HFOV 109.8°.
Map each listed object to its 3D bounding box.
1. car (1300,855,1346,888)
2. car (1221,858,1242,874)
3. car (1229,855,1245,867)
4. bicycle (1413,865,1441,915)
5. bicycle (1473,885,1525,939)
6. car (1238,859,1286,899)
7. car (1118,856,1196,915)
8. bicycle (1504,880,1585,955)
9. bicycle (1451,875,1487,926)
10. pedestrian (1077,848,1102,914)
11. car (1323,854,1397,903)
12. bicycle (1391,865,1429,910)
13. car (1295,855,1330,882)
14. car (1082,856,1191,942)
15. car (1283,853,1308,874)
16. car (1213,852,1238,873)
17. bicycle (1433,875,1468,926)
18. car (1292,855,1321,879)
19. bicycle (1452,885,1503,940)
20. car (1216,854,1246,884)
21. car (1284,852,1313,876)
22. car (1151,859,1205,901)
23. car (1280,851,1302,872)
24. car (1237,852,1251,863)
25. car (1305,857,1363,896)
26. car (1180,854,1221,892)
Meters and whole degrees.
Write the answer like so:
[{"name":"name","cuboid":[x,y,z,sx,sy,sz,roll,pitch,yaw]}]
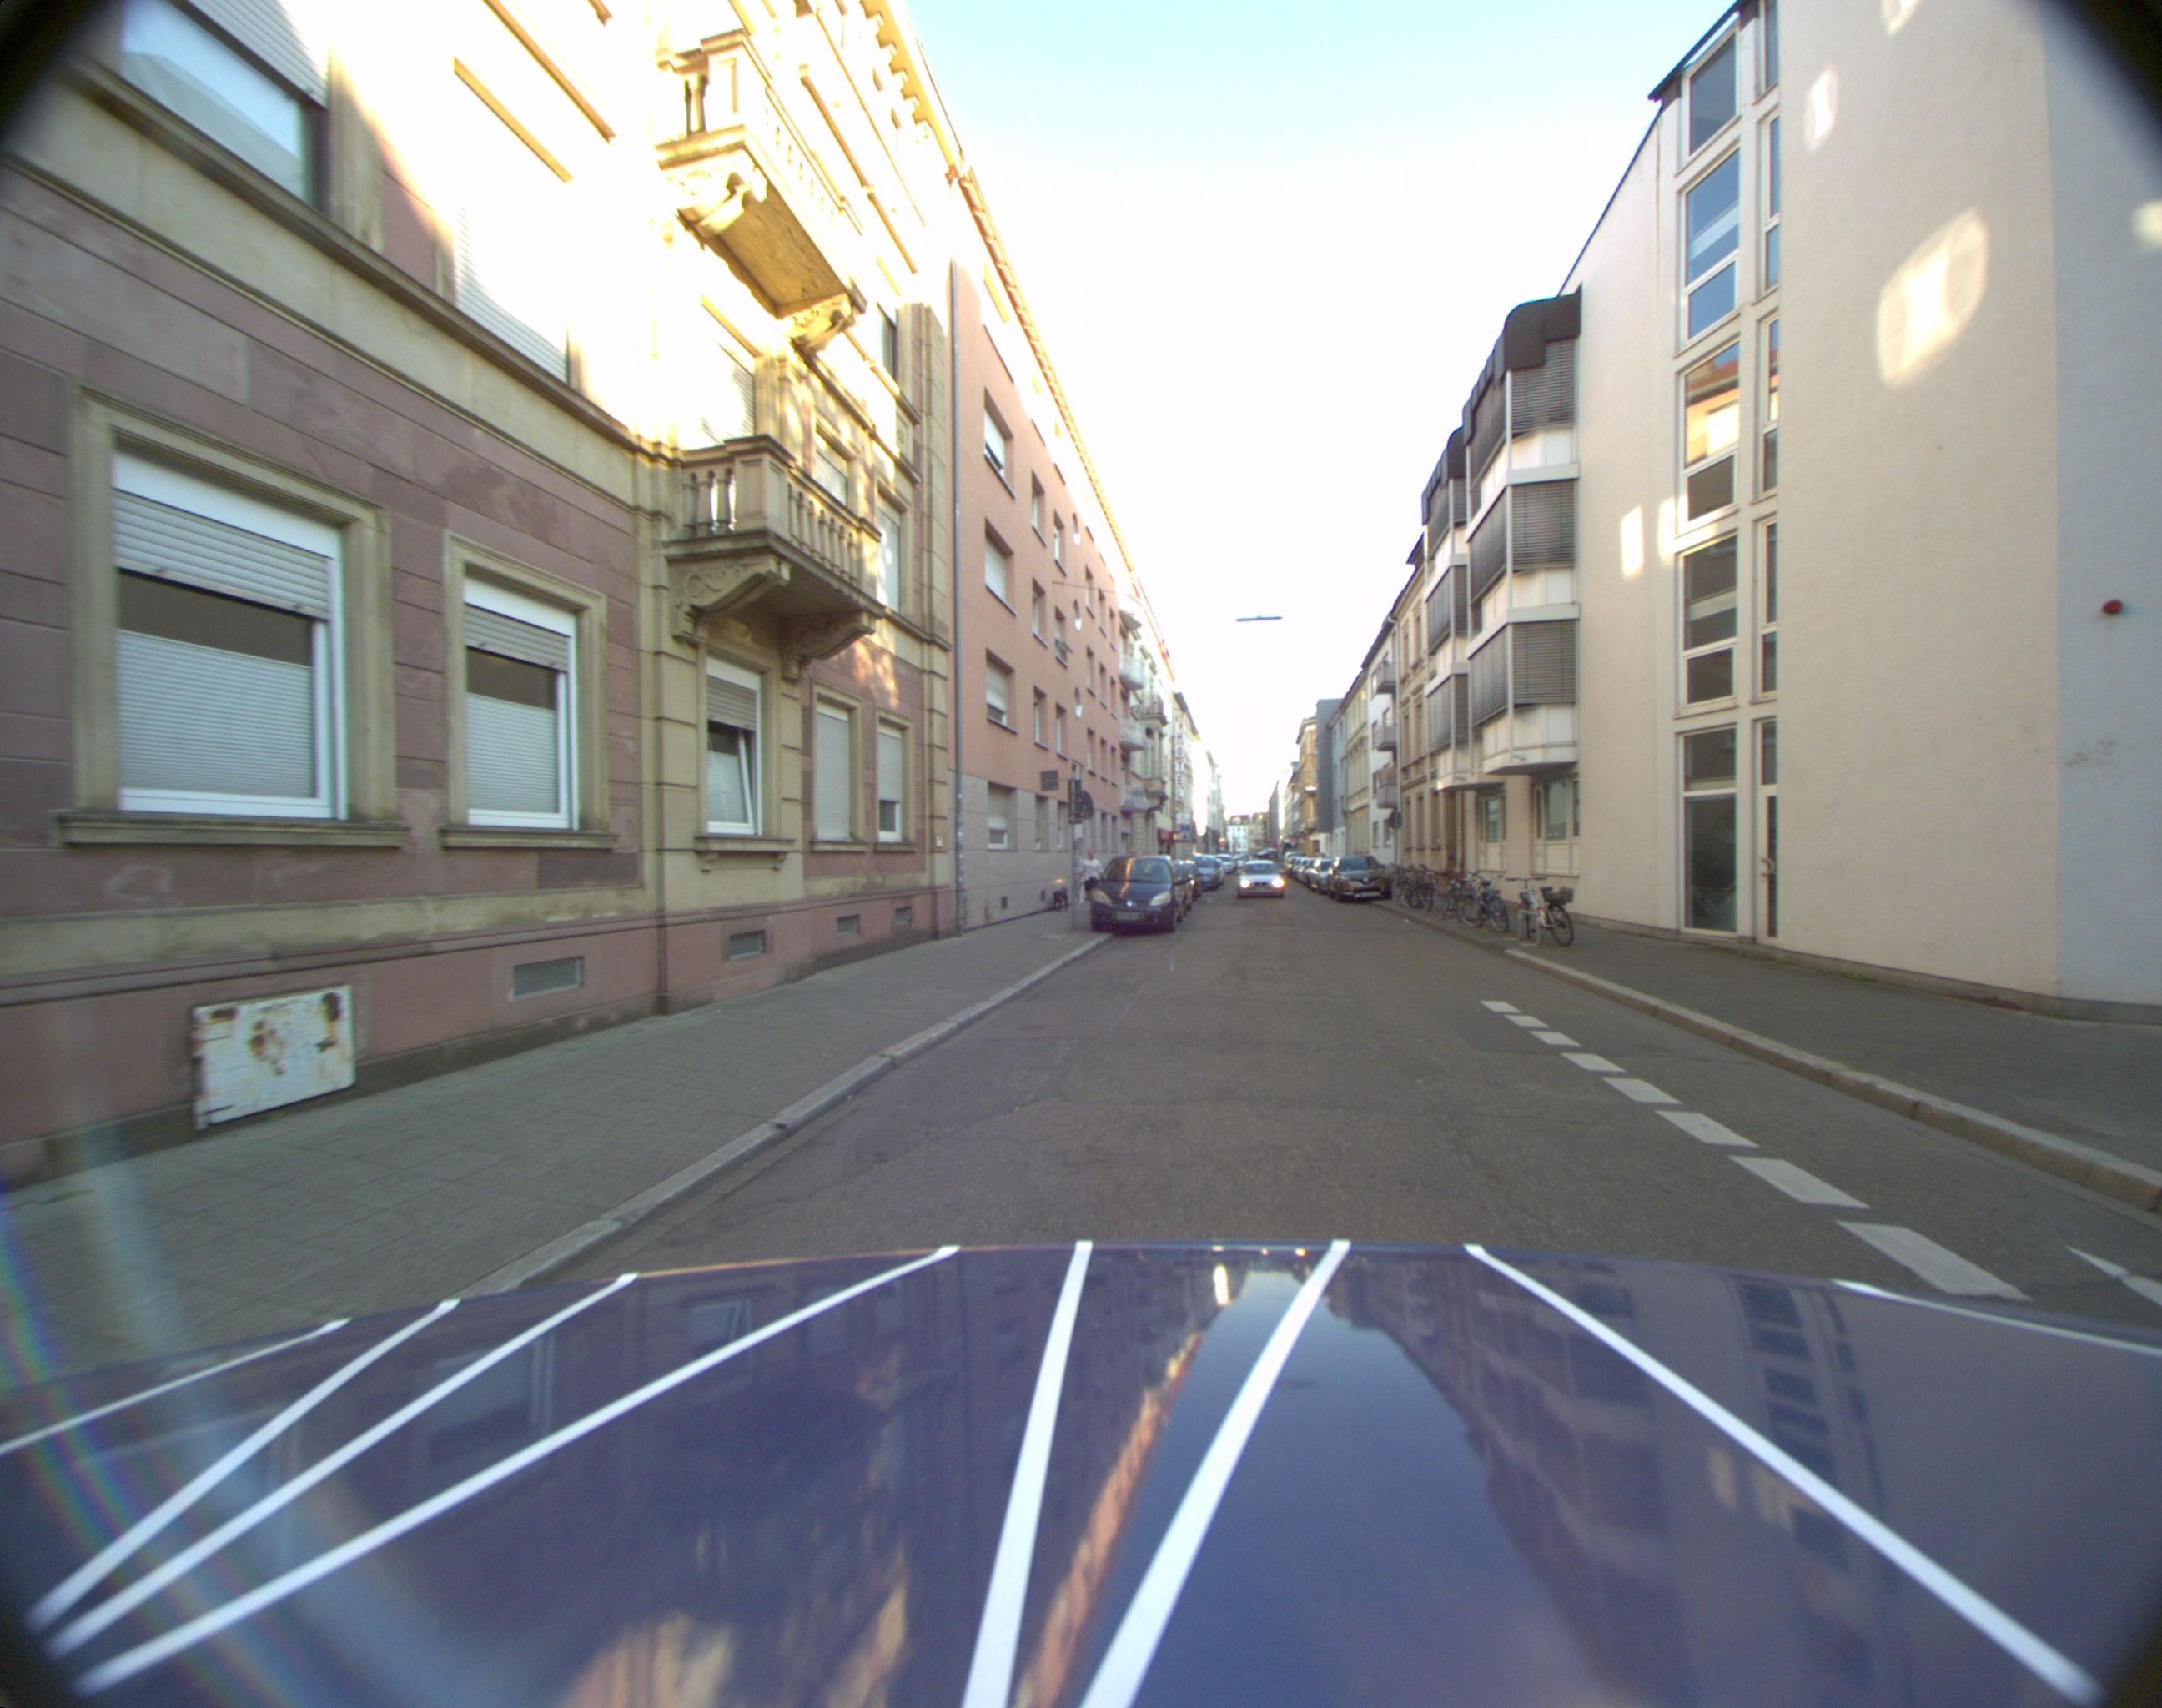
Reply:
[{"name":"car","cuboid":[12.261,0.867,38.736,1.793,1.530,4.498,-1,0,13]},{"name":"car","cuboid":[14.416,1.131,72.660,1.727,1.469,3.980,-2,0,14]},{"name":"car","cuboid":[18.414,0.793,89.609,1.727,1.390,3.896,-1,0,14]},{"name":"bicycle","cuboid":[9.023,0.916,19.837,0.307,1.215,1.815,-1,0,14]},{"name":"bicycle","cuboid":[8.100,1.091,14.779,0.307,0.926,1.814,-1,0,10]},{"name":"car","cuboid":[7.205,0.955,30.317,1.679,1.395,4.476,-2,0,13]},{"name":"car","cuboid":[2.294,0.834,21.968,1.692,1.505,4.287,-1,0,13]},{"name":"bicycle","cuboid":[7.654,1.015,12.627,0.401,1.096,1.814,-1,0,7]},{"name":"bicycle","cuboid":[8.727,1.028,17.131,0.307,1.036,1.815,-1,0,14]},{"name":"pedestrian","cuboid":[0.230,0.720,20.218,0.550,1.733,0.569,-1,0,12]},{"name":"car","cuboid":[9.753,0.801,26.861,1.793,1.567,4.074,-1,0,11]},{"name":"bicycle","cuboid":[9.462,0.942,21.902,0.596,1.180,2.268,-1,0,14]},{"name":"car","cuboid":[13.586,0.835,44.723,1.640,1.480,3.792,-1,0,13]},{"name":"car","cuboid":[1.346,0.879,16.663,1.692,1.615,4.059,-1,0,14]},{"name":"car","cuboid":[17.313,0.745,61.483,1.641,1.571,3.786,-1,0,11]},{"name":"car","cuboid":[12.951,0.699,68.026,1.839,1.685,4.363,4,1,14]},{"name":"bicycle","cuboid":[8.352,1.029,17.211,0.307,1.036,1.815,-1,0,14]},{"name":"car","cuboid":[14.709,0.828,49.733,1.640,1.480,3.958,-1,0,14]},{"name":"bicycle","cuboid":[7.738,1.113,14.895,0.307,0.926,1.814,-1,0,9]},{"name":"car","cuboid":[8.540,0.822,43.040,1.572,1.569,3.593,-1,0,13]},{"name":"car","cuboid":[15.791,0.693,55.227,1.641,1.701,3.786,-1,0,11]},{"name":"car","cuboid":[3.806,0.938,29.297,1.692,1.449,4.136,-1,0,13]},{"name":"car","cuboid":[18.687,0.618,67.726,1.640,1.786,3.787,-1,0,13]},{"name":"car","cuboid":[21.455,0.418,99.883,1.727,1.390,3.896,-1,0,14]},{"name":"car","cuboid":[10.806,0.930,32.733,1.793,1.530,4.438,-1,0,11]},{"name":"car","cuboid":[5.835,0.871,36.747,1.692,1.731,4.113,-1,0,13]}]
